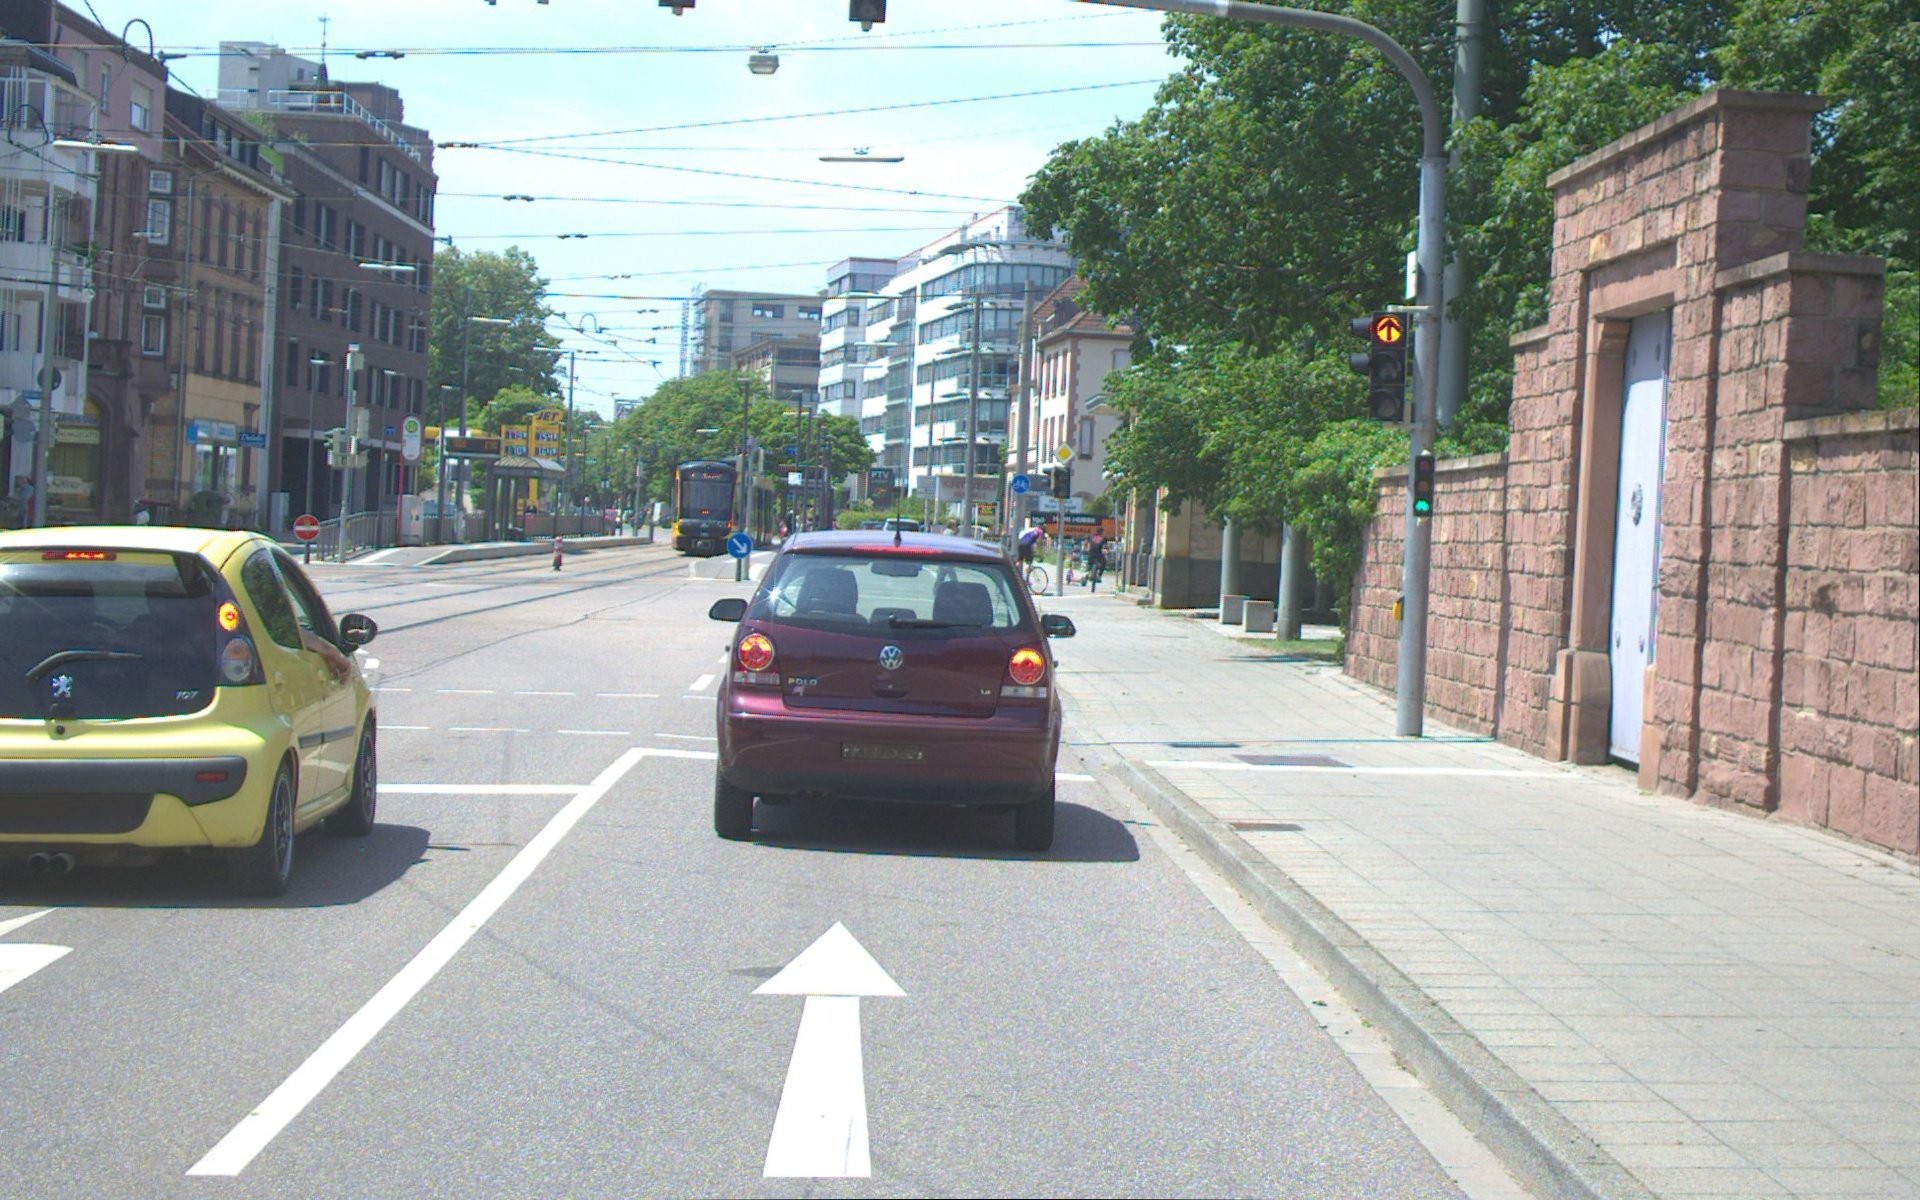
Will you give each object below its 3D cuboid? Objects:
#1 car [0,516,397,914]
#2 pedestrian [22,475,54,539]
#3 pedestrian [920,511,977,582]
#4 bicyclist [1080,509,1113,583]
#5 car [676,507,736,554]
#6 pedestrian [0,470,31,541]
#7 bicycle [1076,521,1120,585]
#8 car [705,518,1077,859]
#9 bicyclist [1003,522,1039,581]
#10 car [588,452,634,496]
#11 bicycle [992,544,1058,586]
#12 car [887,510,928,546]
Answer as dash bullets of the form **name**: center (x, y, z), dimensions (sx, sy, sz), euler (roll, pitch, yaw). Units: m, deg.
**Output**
- **car**: center (-3.480, 0.393, 14.515), dimensions (1.723, 1.440, 3.293), euler (1, 2, -1)
- **pedestrian**: center (-22.545, -2.267, 84.070), dimensions (0.484, 1.535, 0.537), euler (1, 0, 22)
- **pedestrian**: center (-0.284, -1.304, 83.508), dimensions (0.981, 1.655, 0.919), euler (2, 1, -29)
- **bicyclist**: center (3.398, -1.335, 85.679), dimensions (0.721, 1.812, 0.888), euler (1, 0, -1)
- **car**: center (-9.310, -2.538, 126.329), dimensions (1.938, 1.635, 4.000), euler (1, 1, -1)
- **pedestrian**: center (-23.533, -2.347, 85.506), dimensions (0.609, 1.748, 0.505), euler (1, 1, -45)
- **bicycle**: center (3.406, -1.163, 85.093), dimensions (0.835, 1.520, 4.000), euler (1, 1, -1)
- **car**: center (-0.359, 0.352, 17.513), dimensions (1.610, 1.458, 4.086), euler (3, 1, -1)
- **bicyclist**: center (1.490, -1.181, 83.852), dimensions (0.506, 1.401, 0.766), euler (2, 1, 37)
- **car**: center (-16.576, -5.978, 163.553), dimensions (1.735, 2.007, 4.000), euler (2, 1, -1)
- **bicycle**: center (1.588, -0.846, 83.950), dimensions (0.578, 1.004, 1.867), euler (2, 1, 38)
- **car**: center (-2.055, -2.830, 134.816), dimensions (1.572, 1.411, 3.720), euler (0, 1, -1)
